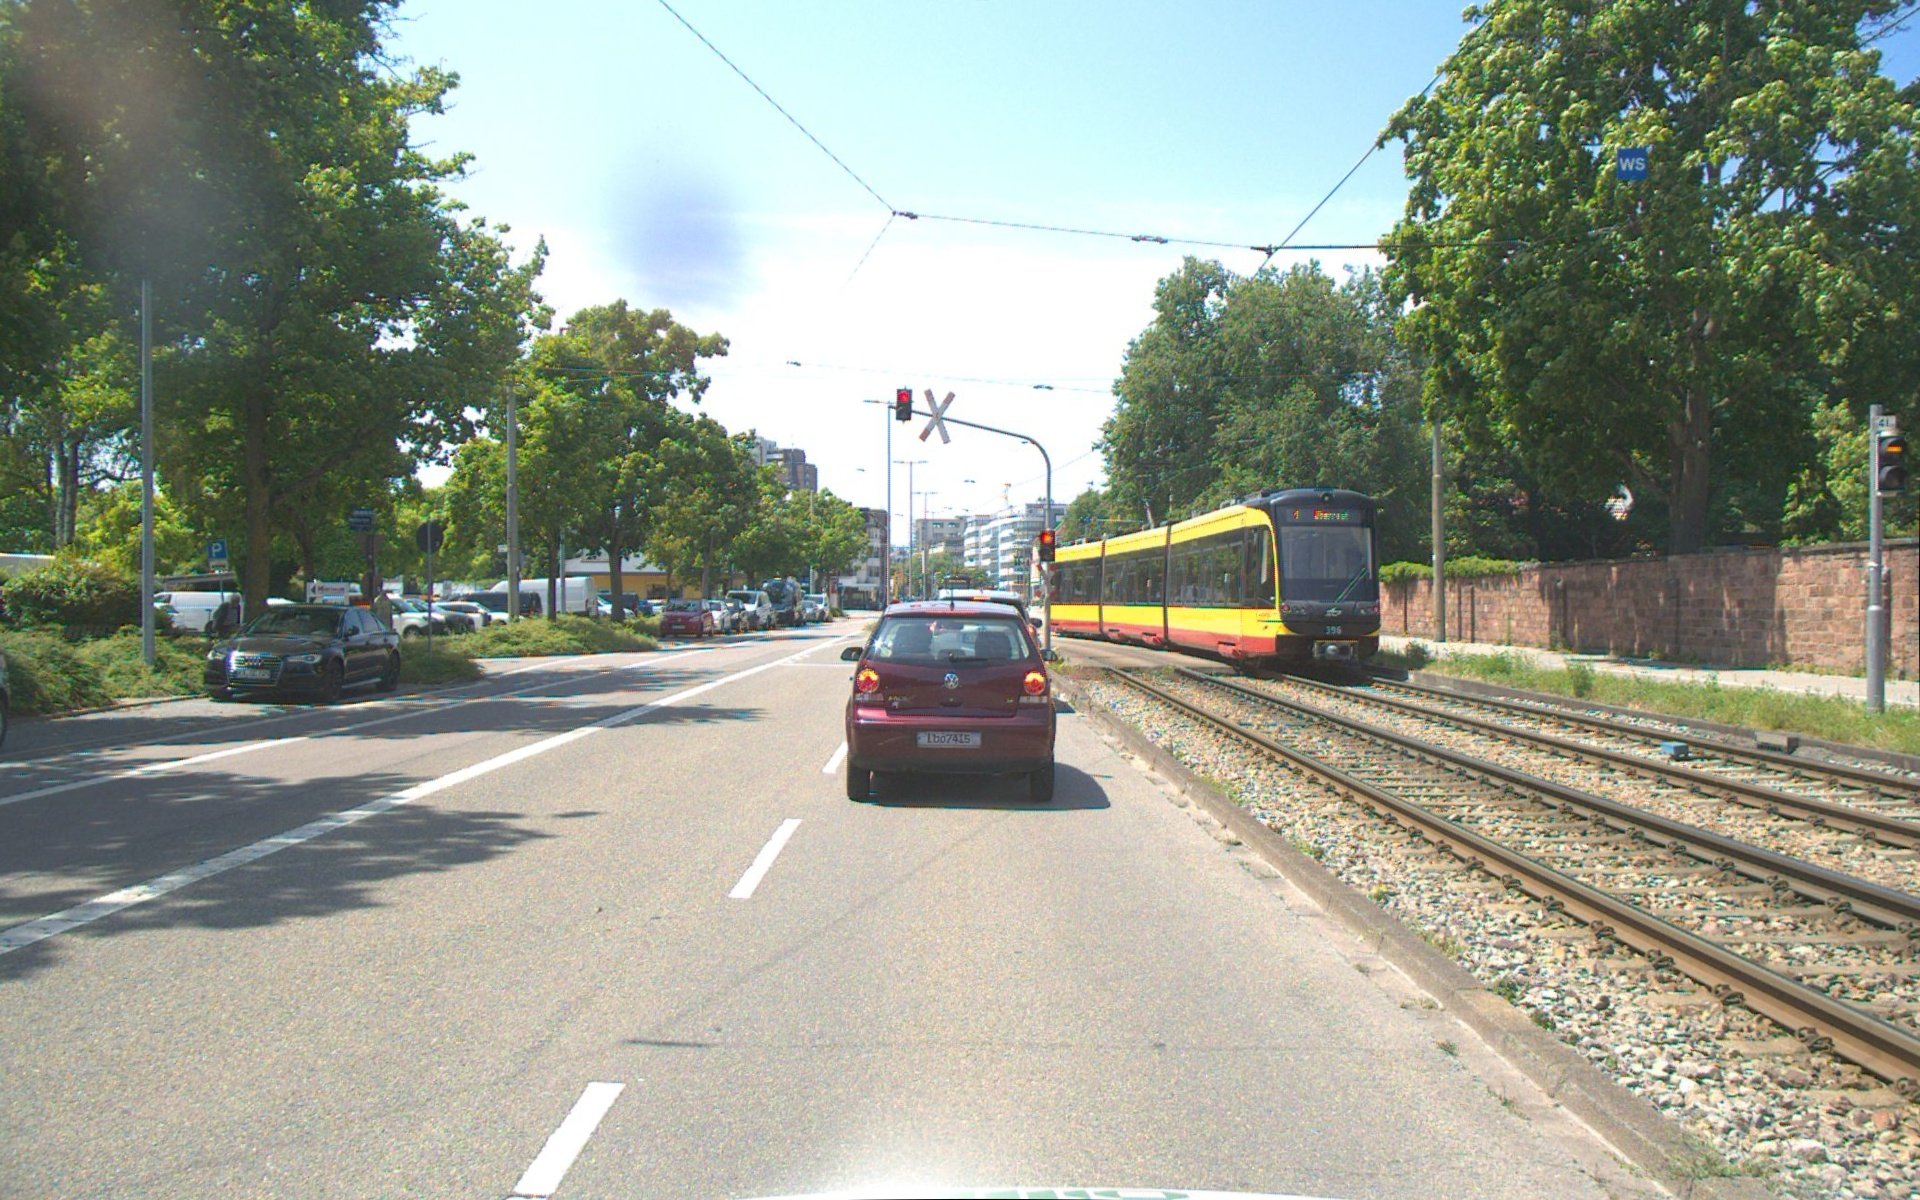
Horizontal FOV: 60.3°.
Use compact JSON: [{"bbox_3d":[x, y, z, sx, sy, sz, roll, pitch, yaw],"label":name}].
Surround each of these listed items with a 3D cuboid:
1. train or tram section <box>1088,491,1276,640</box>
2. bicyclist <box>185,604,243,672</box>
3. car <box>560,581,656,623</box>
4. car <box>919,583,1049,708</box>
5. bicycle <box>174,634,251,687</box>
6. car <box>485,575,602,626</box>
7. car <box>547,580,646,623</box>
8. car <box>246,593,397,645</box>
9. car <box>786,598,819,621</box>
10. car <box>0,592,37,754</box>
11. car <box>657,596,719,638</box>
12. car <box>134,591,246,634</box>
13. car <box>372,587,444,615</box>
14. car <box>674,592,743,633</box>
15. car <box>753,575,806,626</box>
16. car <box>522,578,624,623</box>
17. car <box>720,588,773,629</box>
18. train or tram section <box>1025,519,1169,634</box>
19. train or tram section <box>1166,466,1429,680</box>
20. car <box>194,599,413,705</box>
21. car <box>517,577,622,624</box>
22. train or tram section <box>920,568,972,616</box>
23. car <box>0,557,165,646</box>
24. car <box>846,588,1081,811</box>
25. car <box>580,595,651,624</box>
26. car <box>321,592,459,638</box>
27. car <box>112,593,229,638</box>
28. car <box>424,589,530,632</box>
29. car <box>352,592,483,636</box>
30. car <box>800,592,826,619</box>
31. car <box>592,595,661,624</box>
[{"bbox_3d":[6.294,-0.923,49.554,2.968,3.864,13.078,0,0,-4],"label":"train or tram section"},{"bbox_3d":[-15.764,0.797,34.959,0.792,1.398,0.828,2,-1,2],"label":"bicyclist"},{"bbox_3d":[-20.693,0.141,97.380,4.992,2.284,2.378,2,-1,0],"label":"car"},{"bbox_3d":[0.286,0.617,24.702,1.741,1.676,3.999,1,0,-1],"label":"car"},{"bbox_3d":[-15.771,1.260,34.931,0.686,1.047,1.829,2,-1,3],"label":"bicycle"},{"bbox_3d":[-20.302,0.023,80.732,4.992,2.284,2.378,2,-1,0],"label":"car"},{"bbox_3d":[-20.734,0.108,94.537,4.992,2.284,2.378,2,-1,0],"label":"car"},{"bbox_3d":[-21.025,0.614,54.583,4.256,1.612,1.912,-1,0,-3],"label":"car"},{"bbox_3d":[-10.596,0.659,111.375,1.581,1.466,4.001,2,-1,3],"label":"car"},{"bbox_3d":[-10.350,0.709,14.855,1.782,1.592,4.180,1,0,-1],"label":"car"},{"bbox_3d":[-10.550,0.679,64.323,1.628,1.523,4.000,2,-1,1],"label":"car"},{"bbox_3d":[-32.748,0.525,70.421,3.913,1.682,1.812,2,-1,-9],"label":"car"},{"bbox_3d":[-35.232,0.056,105.597,3.939,1.645,1.816,2,-1,-2],"label":"car"},{"bbox_3d":[-10.728,0.537,70.871,1.934,1.629,4.560,2,-1,4],"label":"car"},{"bbox_3d":[-10.241,0.081,94.162,2.313,2.739,5.307,2,-1,0],"label":"car"},{"bbox_3d":[-21.496,0.054,92.065,4.992,2.284,2.378,2,-1,0],"label":"car"},{"bbox_3d":[-10.416,0.422,81.114,1.746,1.914,4.787,2,-1,2],"label":"car"},{"bbox_3d":[4.885,-0.823,62.260,2.970,3.864,12.742,0,0,-6],"label":"train or tram section"},{"bbox_3d":[6.958,-0.524,36.622,2.967,3.864,13.087,0,0,-1],"label":"train or tram section"},{"bbox_3d":[-10.400,0.766,26.575,1.782,1.502,4.448,1,0,-1],"label":"car"},{"bbox_3d":[-20.964,0.036,88.876,4.992,2.284,2.378,2,-1,0],"label":"car"},{"bbox_3d":[-1.243,-0.660,135.955,2.689,3.672,12.849,2,0,-7],"label":"train or tram section"},{"bbox_3d":[-33.120,0.039,60.543,6.713,3.017,2.363,2,-1,-2],"label":"car"},{"bbox_3d":[-0.020,0.701,13.775,1.638,1.548,3.999,1,0,-1],"label":"car"},{"bbox_3d":[-21.117,0.579,101.529,3.938,1.645,1.816,2,-1,0],"label":"car"},{"bbox_3d":[-20.469,0.531,59.455,4.251,1.612,1.914,-1,0,5],"label":"car"},{"bbox_3d":[-32.455,0.642,68.104,3.913,1.682,1.812,2,-1,-9],"label":"car"},{"bbox_3d":[-20.503,0.426,70.300,3.906,1.776,1.998,-1,0,-2],"label":"car"},{"bbox_3d":[-20.381,0.518,62.269,4.251,1.612,1.914,-1,0,6],"label":"car"},{"bbox_3d":[-10.469,0.414,117.438,1.741,1.860,3.995,2,-1,-6],"label":"car"},{"bbox_3d":[-21.092,0.614,104.611,3.938,1.645,1.816,2,-1,0],"label":"car"}]
